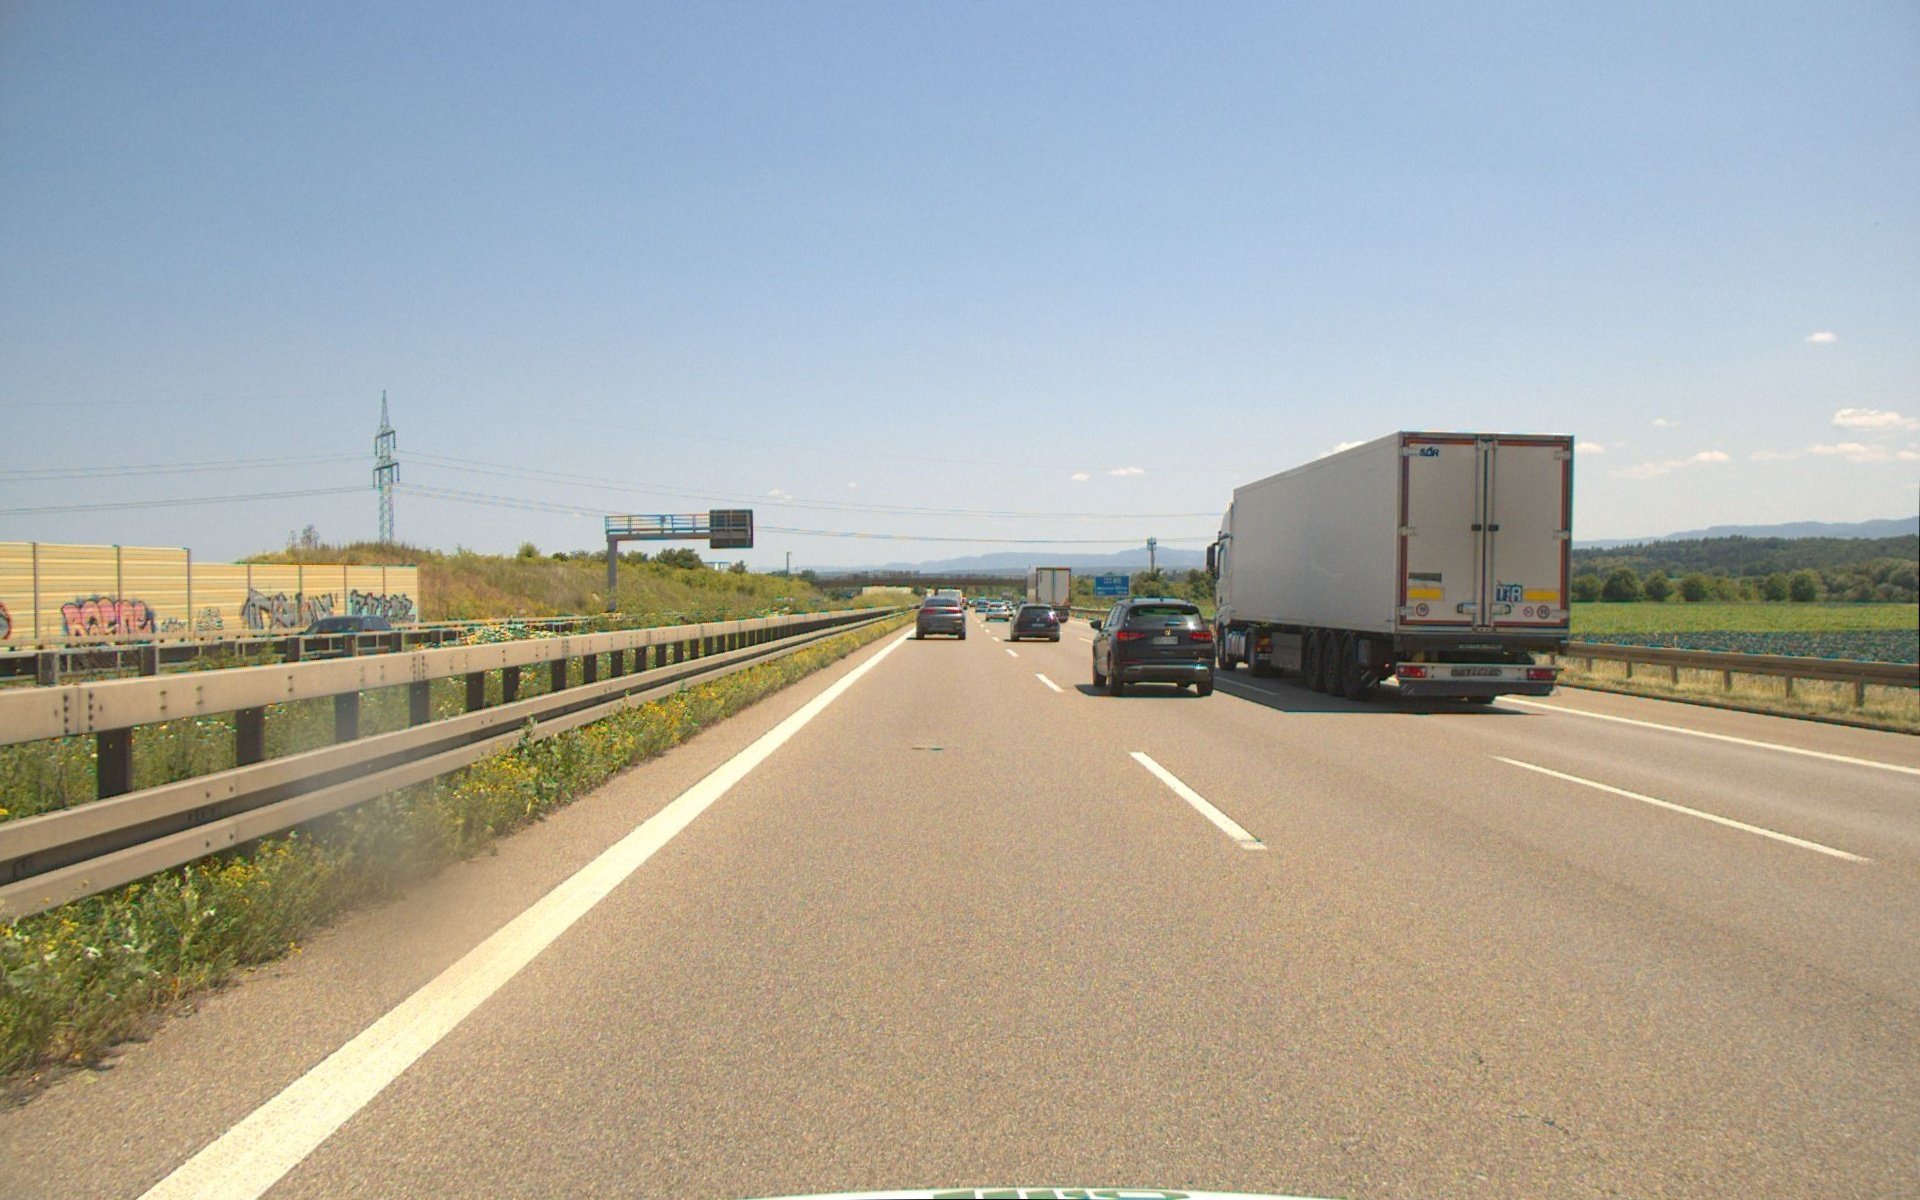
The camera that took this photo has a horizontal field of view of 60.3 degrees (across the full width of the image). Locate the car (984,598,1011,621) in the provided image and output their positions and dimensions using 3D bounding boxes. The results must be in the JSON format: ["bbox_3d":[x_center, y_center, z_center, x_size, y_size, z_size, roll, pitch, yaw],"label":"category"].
[{"bbox_3d":[2.870,0.710,127.517,1.953,1.712,4.000,1,0,0],"label":"car"}]

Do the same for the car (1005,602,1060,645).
[{"bbox_3d":[2.815,0.903,65.036,1.894,1.602,4.934,1,0,0],"label":"car"}]

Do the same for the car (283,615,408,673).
[{"bbox_3d":[-16.684,1.171,45.138,1.953,1.445,3.999,1,0,-1],"label":"car"}]

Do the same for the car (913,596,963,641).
[{"bbox_3d":[-0.905,0.712,65.757,1.814,1.693,3.733,1,0,-3],"label":"car"}]

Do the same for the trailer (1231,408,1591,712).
[{"bbox_3d":[7.534,-0.534,30.280,2.809,4.294,13.292,1,0,-1],"label":"trailer"}]

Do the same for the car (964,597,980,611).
[{"bbox_3d":[1.562,0.504,213.347,1.953,1.712,4.000,1,0,0],"label":"car"}]

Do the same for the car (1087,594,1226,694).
[{"bbox_3d":[3.334,0.726,28.715,1.761,1.589,3.821,1,0,-3],"label":"car"}]

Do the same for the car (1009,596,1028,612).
[{"bbox_3d":[6.324,0.446,179.035,1.953,1.712,4.000,1,0,0],"label":"car"}]

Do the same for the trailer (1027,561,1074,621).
[{"bbox_3d":[6.879,-0.622,127.294,2.883,4.271,13.595,1,0,0],"label":"trailer"}]

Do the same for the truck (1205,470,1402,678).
[{"bbox_3d":[7.465,-0.503,36.926,2.804,4.163,6.877,1,0,-1],"label":"truck"}]

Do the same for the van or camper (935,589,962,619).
[{"bbox_3d":[-0.874,0.302,129.874,2.067,2.250,5.265,1,0,0],"label":"van or camper"}]

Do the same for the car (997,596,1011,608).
[{"bbox_3d":[6.585,0.328,246.252,1.953,1.712,4.000,1,0,0],"label":"car"}]
